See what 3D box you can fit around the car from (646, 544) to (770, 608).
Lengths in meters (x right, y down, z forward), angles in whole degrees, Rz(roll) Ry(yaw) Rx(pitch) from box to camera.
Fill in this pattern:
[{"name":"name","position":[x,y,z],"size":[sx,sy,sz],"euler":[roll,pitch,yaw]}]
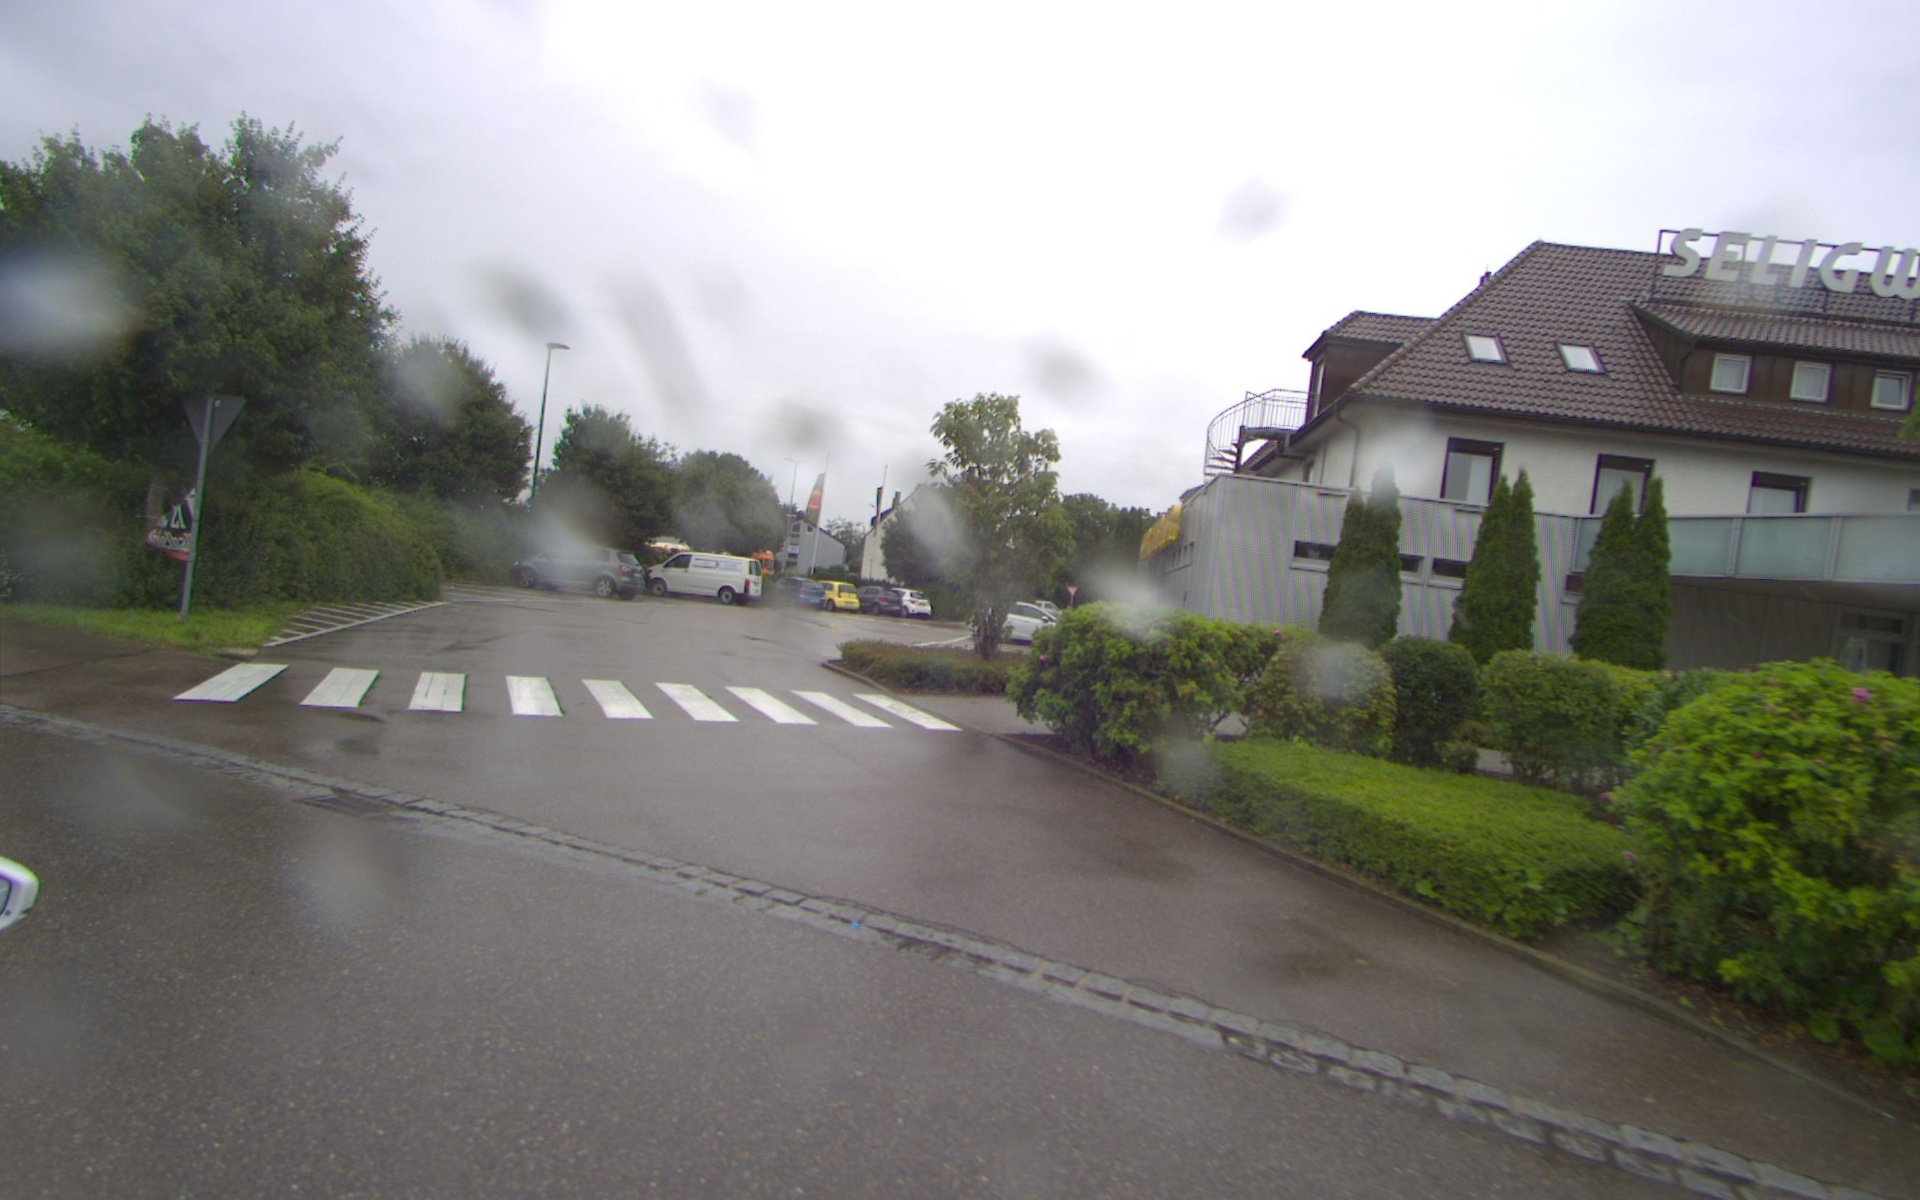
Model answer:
[{"name":"car","position":[-10.261,-0.972,41.145],"size":[4.449,2.059,1.645],"euler":[7,1,6]}]

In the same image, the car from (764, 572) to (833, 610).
[{"name":"car","position":[-7.799,-0.438,48.368],"size":[1.543,1.477,3.639],"euler":[5,1,-40]}]

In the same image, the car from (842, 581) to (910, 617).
[{"name":"car","position":[-4.364,-0.059,51.992],"size":[1.573,1.477,3.639],"euler":[5,1,-40]}]

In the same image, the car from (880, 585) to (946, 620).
[{"name":"car","position":[-2.534,0.105,53.903],"size":[1.573,1.477,3.639],"euler":[5,1,-40]}]

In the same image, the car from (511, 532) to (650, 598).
[{"name":"car","position":[-11.762,-1.068,31.264],"size":[3.673,1.571,1.450],"euler":[7,1,6]}]

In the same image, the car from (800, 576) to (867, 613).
[{"name":"car","position":[-6.414,-0.292,50.803],"size":[1.573,1.477,3.639],"euler":[5,1,-40]}]

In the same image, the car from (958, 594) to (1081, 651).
[{"name":"car","position":[2.106,0.779,35.422],"size":[4.109,1.517,1.718],"euler":[6,1,5]}]
